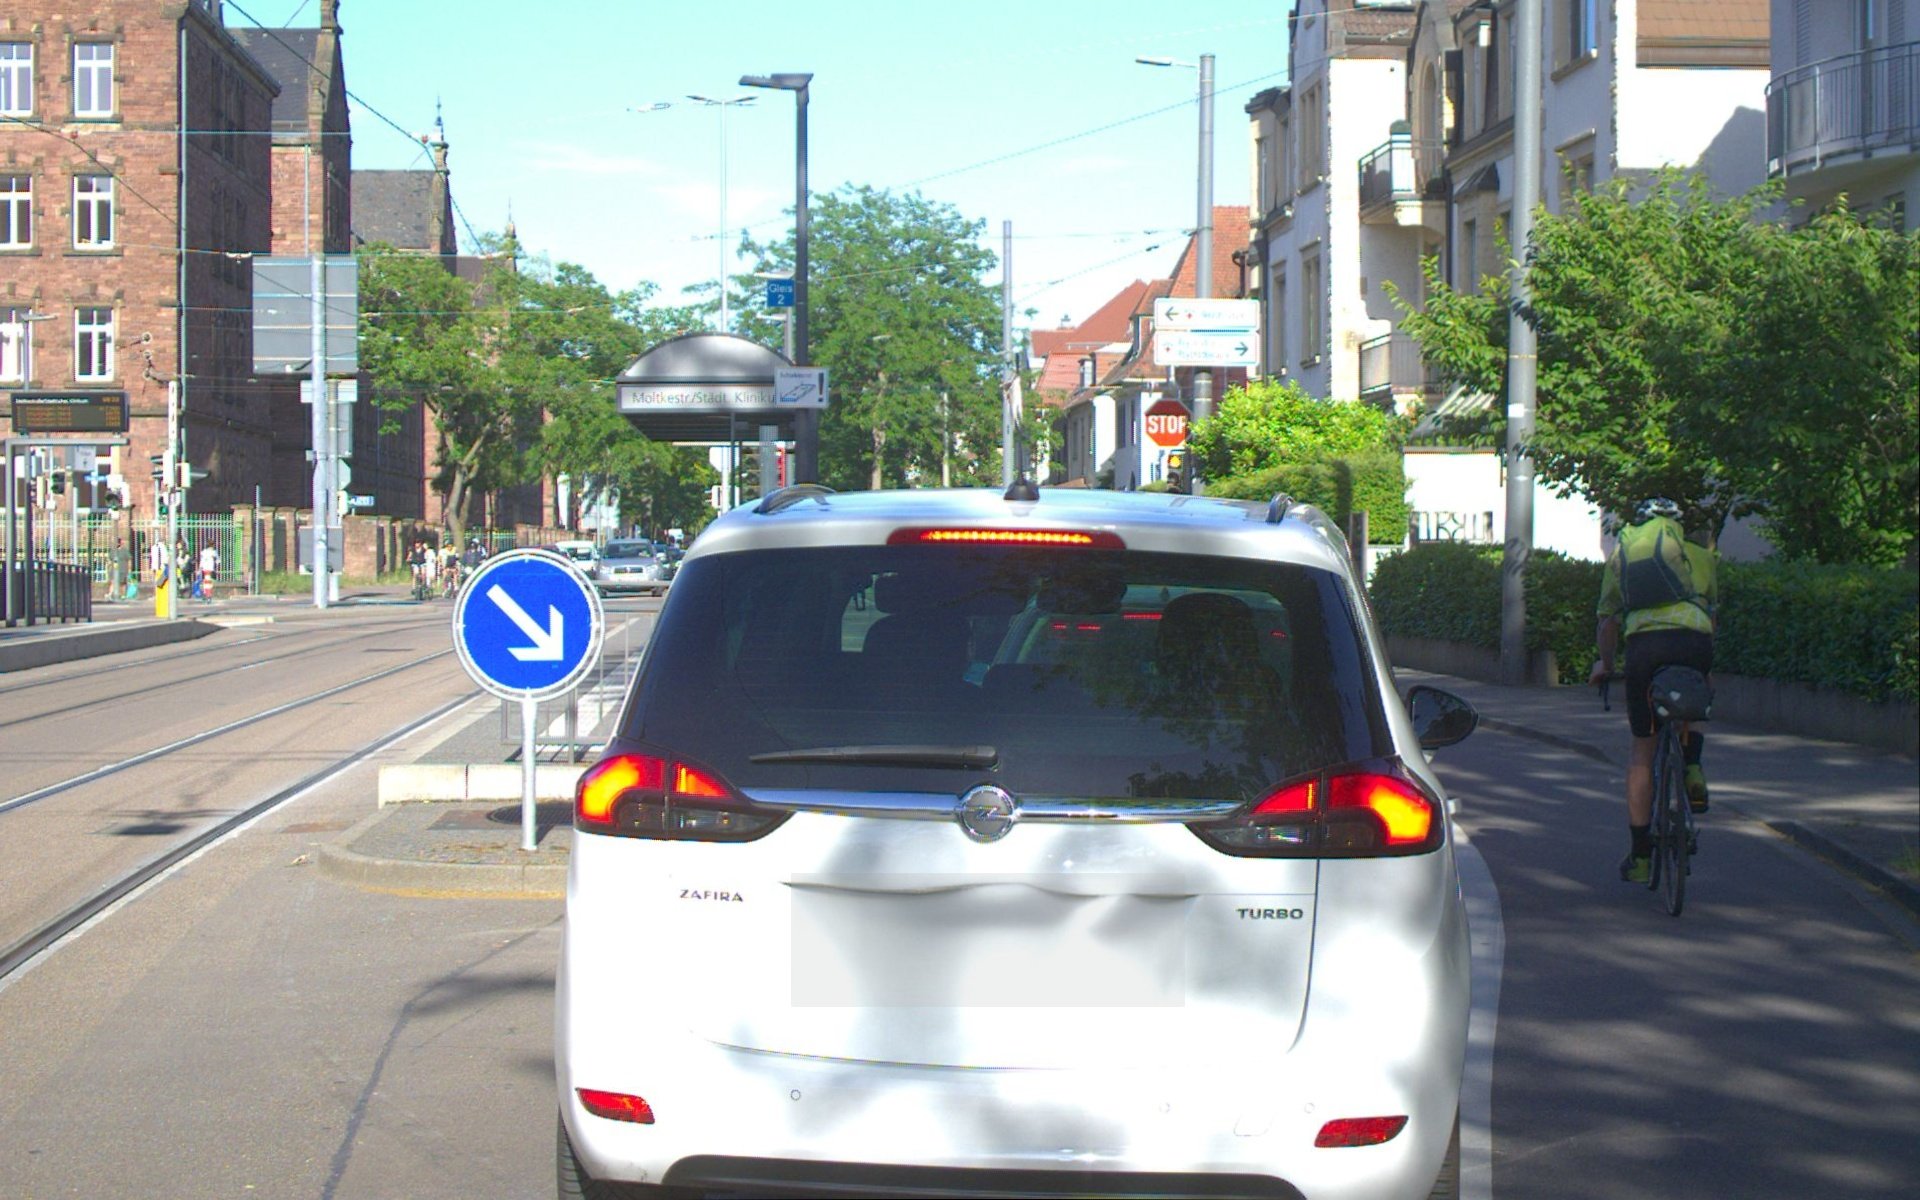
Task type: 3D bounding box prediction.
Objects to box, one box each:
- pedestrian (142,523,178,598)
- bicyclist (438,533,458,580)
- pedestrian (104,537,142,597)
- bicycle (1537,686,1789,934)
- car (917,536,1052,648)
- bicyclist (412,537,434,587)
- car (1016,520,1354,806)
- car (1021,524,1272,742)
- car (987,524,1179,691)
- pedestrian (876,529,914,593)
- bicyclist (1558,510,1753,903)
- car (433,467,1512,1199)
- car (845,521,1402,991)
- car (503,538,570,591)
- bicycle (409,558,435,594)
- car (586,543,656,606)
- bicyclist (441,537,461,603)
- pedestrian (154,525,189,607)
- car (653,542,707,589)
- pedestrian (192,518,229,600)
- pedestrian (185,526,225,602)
[{"bbox_3d":[-21.462,-1.055,92.231,0.691,2.007,0.616,1,0,33],"label":"pedestrian"},{"bbox_3d":[-16.306,-1.381,109.464,0.531,1.472,0.572,1,0,-1],"label":"bicyclist"},{"bbox_3d":[-22.518,-0.886,92.517,0.655,1.606,0.710,1,0,31],"label":"pedestrian"},{"bbox_3d":[2.995,0.871,14.815,0.676,0.922,1.885,0,1,-1],"label":"bicycle"},{"bbox_3d":[0.339,-0.151,53.084,1.907,1.656,4.001,0,1,-2],"label":"car"},{"bbox_3d":[-15.954,-1.119,102.116,0.531,1.472,0.572,1,0,-1],"label":"bicyclist"},{"bbox_3d":[1.505,0.320,21.609,1.907,1.619,3.999,0,1,7],"label":"car"},{"bbox_3d":[1.568,0.217,28.270,1.907,1.656,4.000,0,1,4],"label":"car"},{"bbox_3d":[1.245,0.036,36.107,1.907,1.656,4.000,0,1,1],"label":"car"},{"bbox_3d":[-1.925,-1.151,101.367,0.810,1.894,0.742,1,0,38],"label":"pedestrian"},{"bbox_3d":[2.989,0.444,14.830,0.676,1.652,0.745,0,1,-1],"label":"bicyclist"},{"bbox_3d":[0.236,0.560,8.036,1.907,1.656,3.999,0,1,7],"label":"car"},{"bbox_3d":[0.784,0.493,13.770,1.907,1.592,3.999,0,1,7],"label":"car"},{"bbox_3d":[-13.981,-1.167,113.613,1.746,1.710,4.000,1,1,-1],"label":"car"},{"bbox_3d":[-15.960,-0.713,102.078,0.509,1.073,1.739,1,1,-1],"label":"bicycle"},{"bbox_3d":[-9.574,-0.721,96.948,1.746,1.710,4.001,1,1,-9],"label":"car"},{"bbox_3d":[-15.637,-0.914,105.684,0.498,2.007,0.572,1,0,-1],"label":"bicyclist"},{"bbox_3d":[-19.512,-0.837,85.049,0.794,2.007,1.047,1,0,-15],"label":"pedestrian"},{"bbox_3d":[-10.490,-1.304,129.065,1.746,1.710,4.000,1,1,-1],"label":"car"},{"bbox_3d":[-18.528,-1.005,84.970,0.794,2.007,0.721,1,0,-17],"label":"pedestrian"},{"bbox_3d":[-20.064,-0.954,91.331,0.795,2.007,0.720,1,0,-36],"label":"pedestrian"}]
